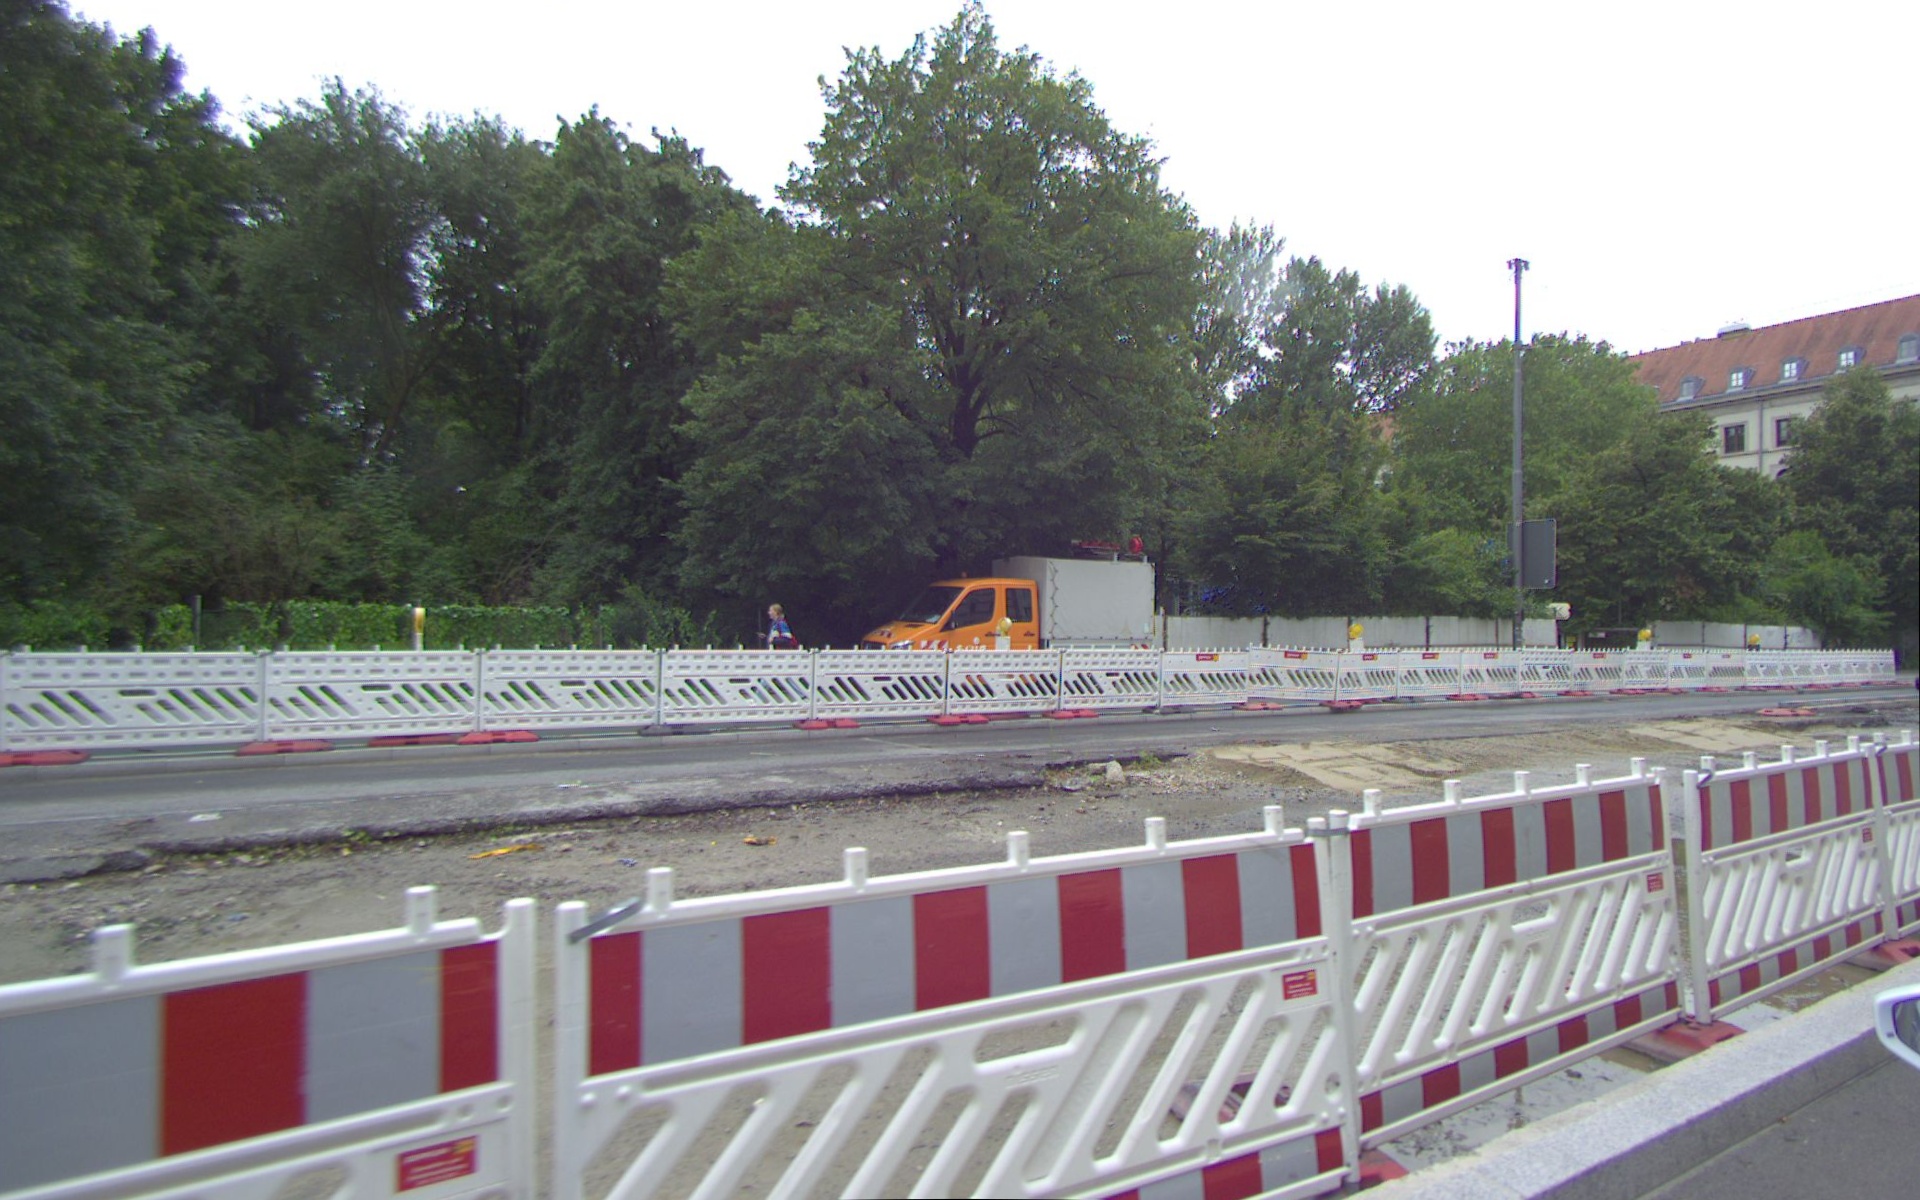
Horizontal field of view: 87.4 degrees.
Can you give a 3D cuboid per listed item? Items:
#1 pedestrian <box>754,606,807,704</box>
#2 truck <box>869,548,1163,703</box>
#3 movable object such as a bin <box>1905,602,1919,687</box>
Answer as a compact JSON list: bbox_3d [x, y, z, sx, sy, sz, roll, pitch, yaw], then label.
[{"bbox_3d":[-3.043,0.912,17.007,0.690,1.624,0.660,1,-1,-29],"label":"pedestrian"},{"bbox_3d":[1.223,0.530,20.277,5.801,2.764,1.984,1,-1,-30],"label":"truck"},{"bbox_3d":[31.645,1.414,31.364,4.438,2.606,1.915,1,-1,-30],"label":"movable object such as a bin"}]
